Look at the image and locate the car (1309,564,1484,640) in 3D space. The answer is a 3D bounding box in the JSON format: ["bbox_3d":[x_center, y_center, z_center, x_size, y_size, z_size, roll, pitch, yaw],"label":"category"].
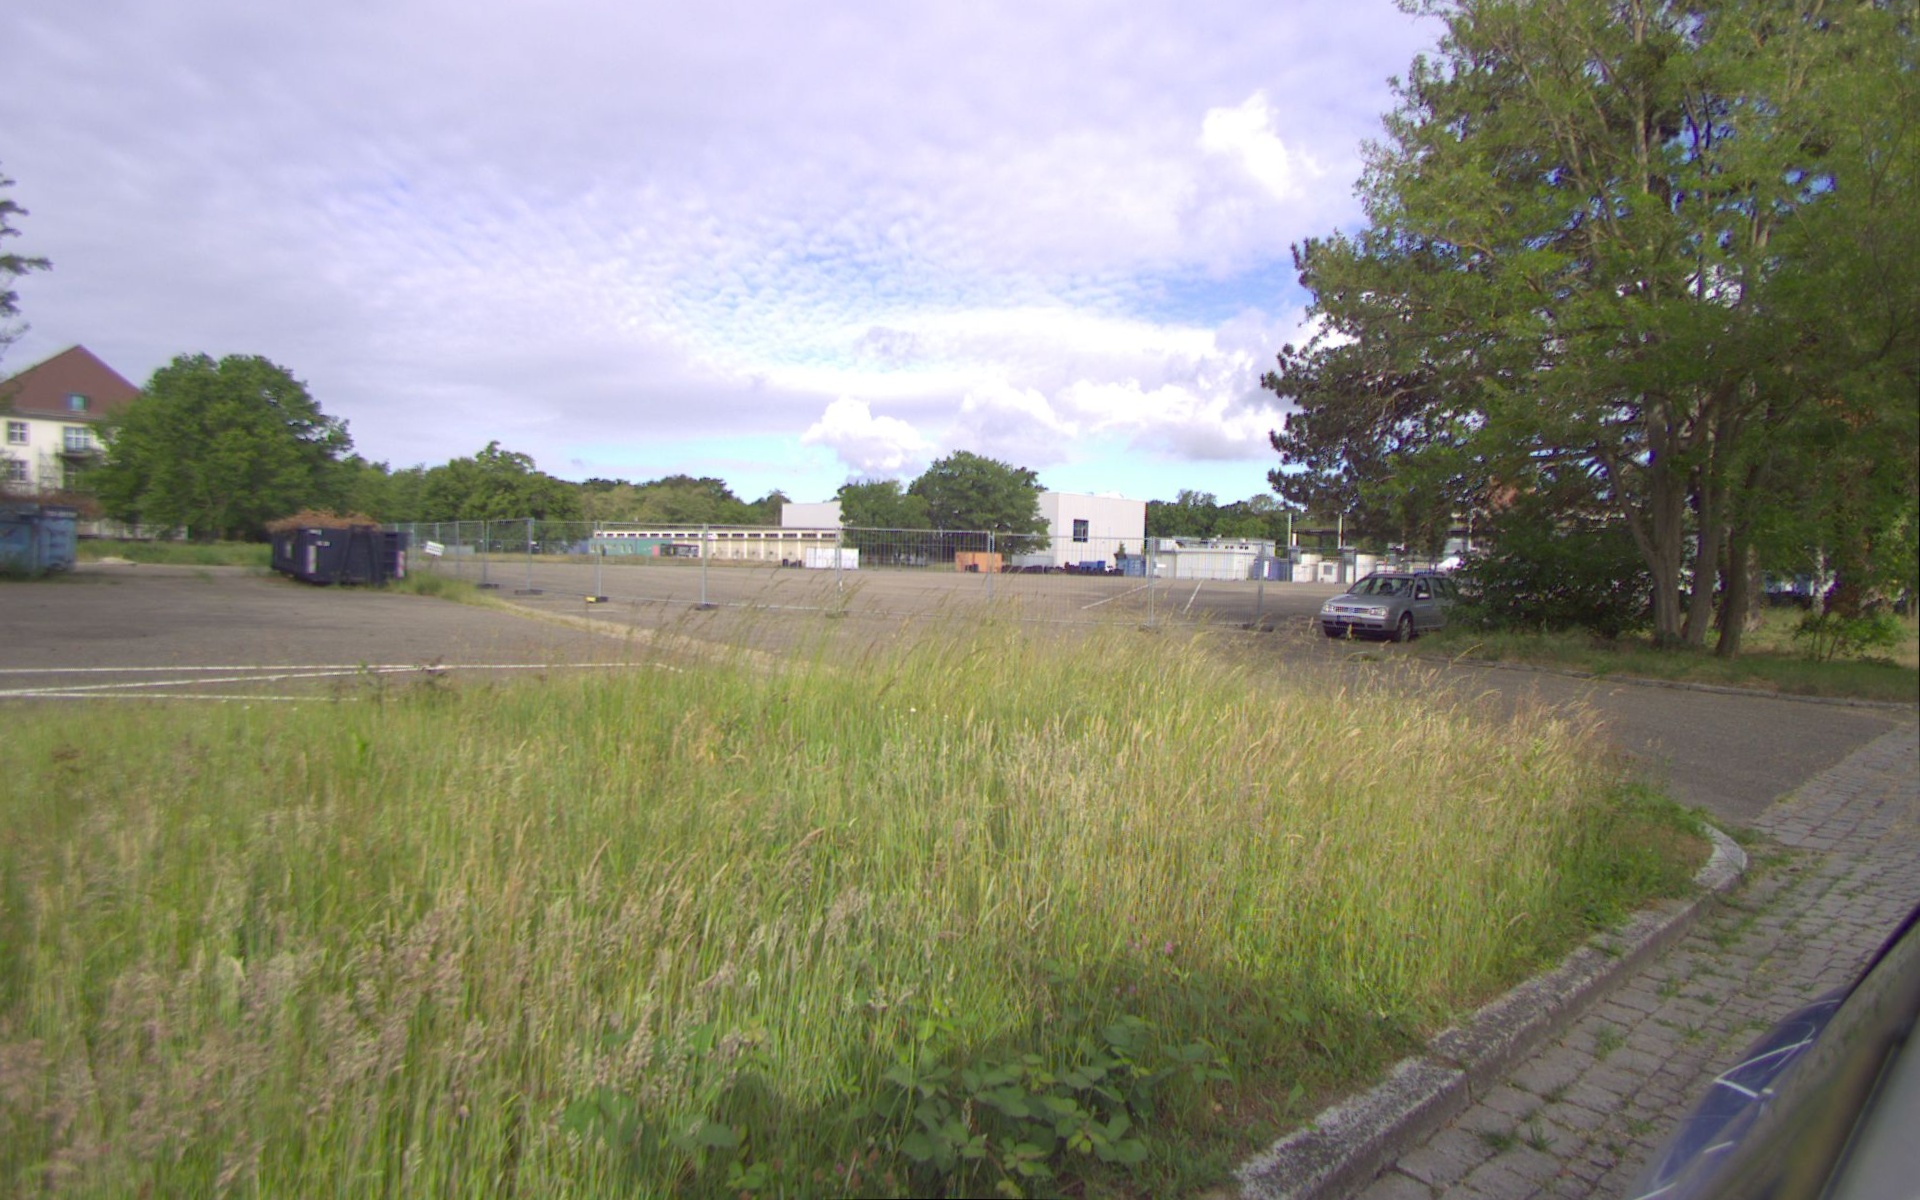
[{"bbox_3d":[9.650,0.016,22.238,4.250,1.466,1.759,0,3,-40],"label":"car"}]

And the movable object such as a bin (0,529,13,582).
[{"bbox_3d":[-21.083,-0.975,20.674,2.499,1.097,1.064,1,2,-42],"label":"movable object such as a bin"}]
